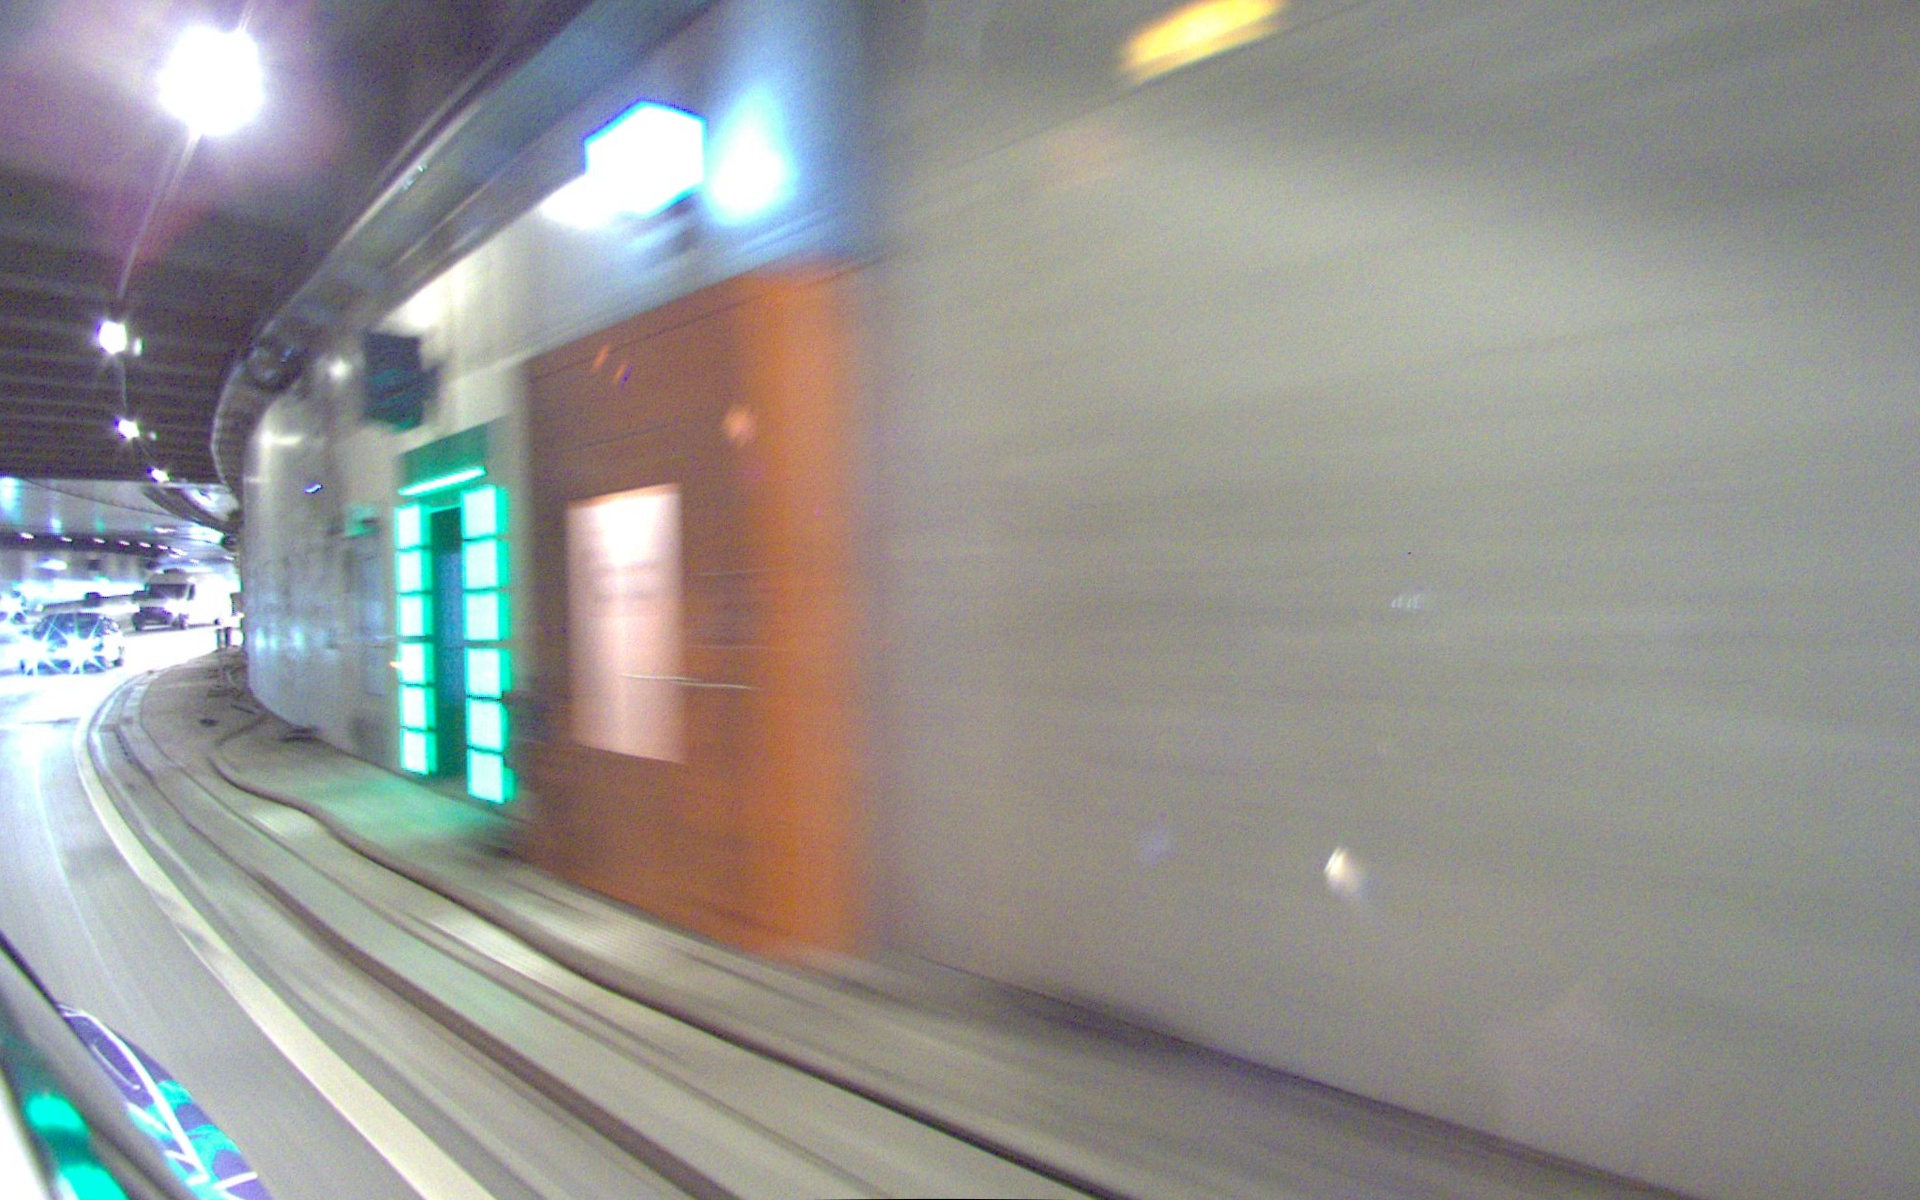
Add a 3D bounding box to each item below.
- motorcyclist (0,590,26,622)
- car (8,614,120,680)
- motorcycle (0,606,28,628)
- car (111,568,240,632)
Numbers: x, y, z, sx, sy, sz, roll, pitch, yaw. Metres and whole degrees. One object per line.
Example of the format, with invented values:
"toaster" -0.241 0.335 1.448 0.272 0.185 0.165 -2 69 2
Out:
"motorcyclist" -46.368 0.283 49.537 0.734 1.501 0.790 -3 2 -28
"car" -23.053 1.149 26.173 1.694 1.475 4.010 -2 1 -35
"motorcycle" -46.316 0.820 49.496 0.541 0.983 1.841 -3 2 -28
"car" -37.188 -0.006 48.304 2.518 2.789 7.374 -1 1 -18
